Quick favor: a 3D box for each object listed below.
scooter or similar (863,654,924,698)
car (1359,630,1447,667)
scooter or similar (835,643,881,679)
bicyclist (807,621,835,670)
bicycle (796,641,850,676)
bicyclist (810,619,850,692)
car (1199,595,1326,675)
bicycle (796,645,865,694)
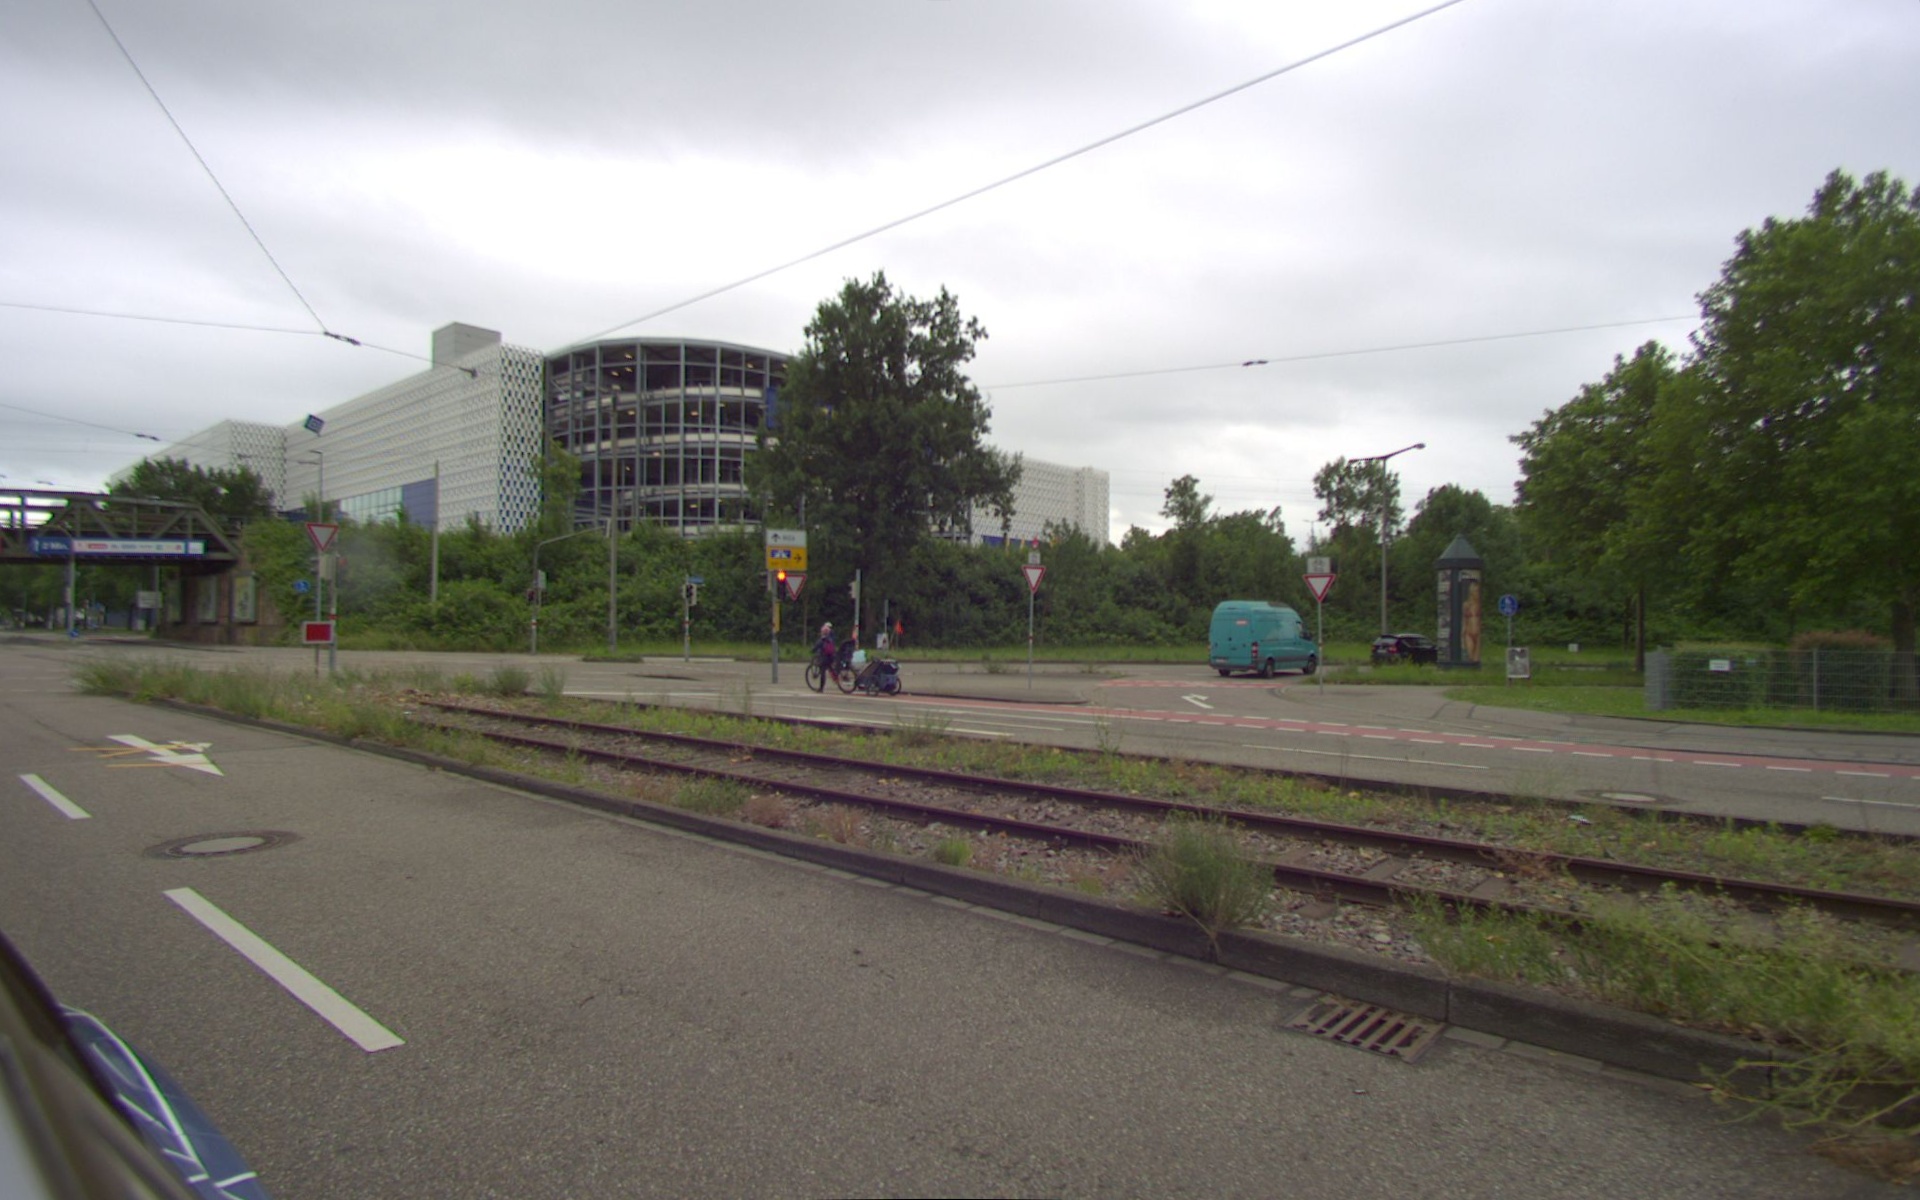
[{"bbox_3d":[-1.521,1.716,23.024,0.833,0.914,1.200,-1,-1,-39],"label":"scooter or similar"},{"bbox_3d":[19.719,2.134,45.032,3.606,1.539,1.779,1,-2,-30],"label":"car"},{"bbox_3d":[-3.212,1.896,31.736,1.450,1.070,0.638,-2,-1,45],"label":"scooter or similar"},{"bbox_3d":[-4.530,1.473,32.980,0.638,1.530,0.627,-1,-1,-45],"label":"bicyclist"},{"bbox_3d":[-4.477,1.902,32.936,2.002,1.070,0.638,-2,-1,45],"label":"bicycle"},{"bbox_3d":[-3.122,1.325,24.296,0.637,1.696,0.687,-1,-1,-40],"label":"bicyclist"},{"bbox_3d":[11.637,1.314,38.636,2.336,2.847,5.865,-1,-2,42],"label":"car"},{"bbox_3d":[-3.127,1.647,24.315,0.637,1.070,2.028,-1,-1,-39],"label":"bicycle"}]
